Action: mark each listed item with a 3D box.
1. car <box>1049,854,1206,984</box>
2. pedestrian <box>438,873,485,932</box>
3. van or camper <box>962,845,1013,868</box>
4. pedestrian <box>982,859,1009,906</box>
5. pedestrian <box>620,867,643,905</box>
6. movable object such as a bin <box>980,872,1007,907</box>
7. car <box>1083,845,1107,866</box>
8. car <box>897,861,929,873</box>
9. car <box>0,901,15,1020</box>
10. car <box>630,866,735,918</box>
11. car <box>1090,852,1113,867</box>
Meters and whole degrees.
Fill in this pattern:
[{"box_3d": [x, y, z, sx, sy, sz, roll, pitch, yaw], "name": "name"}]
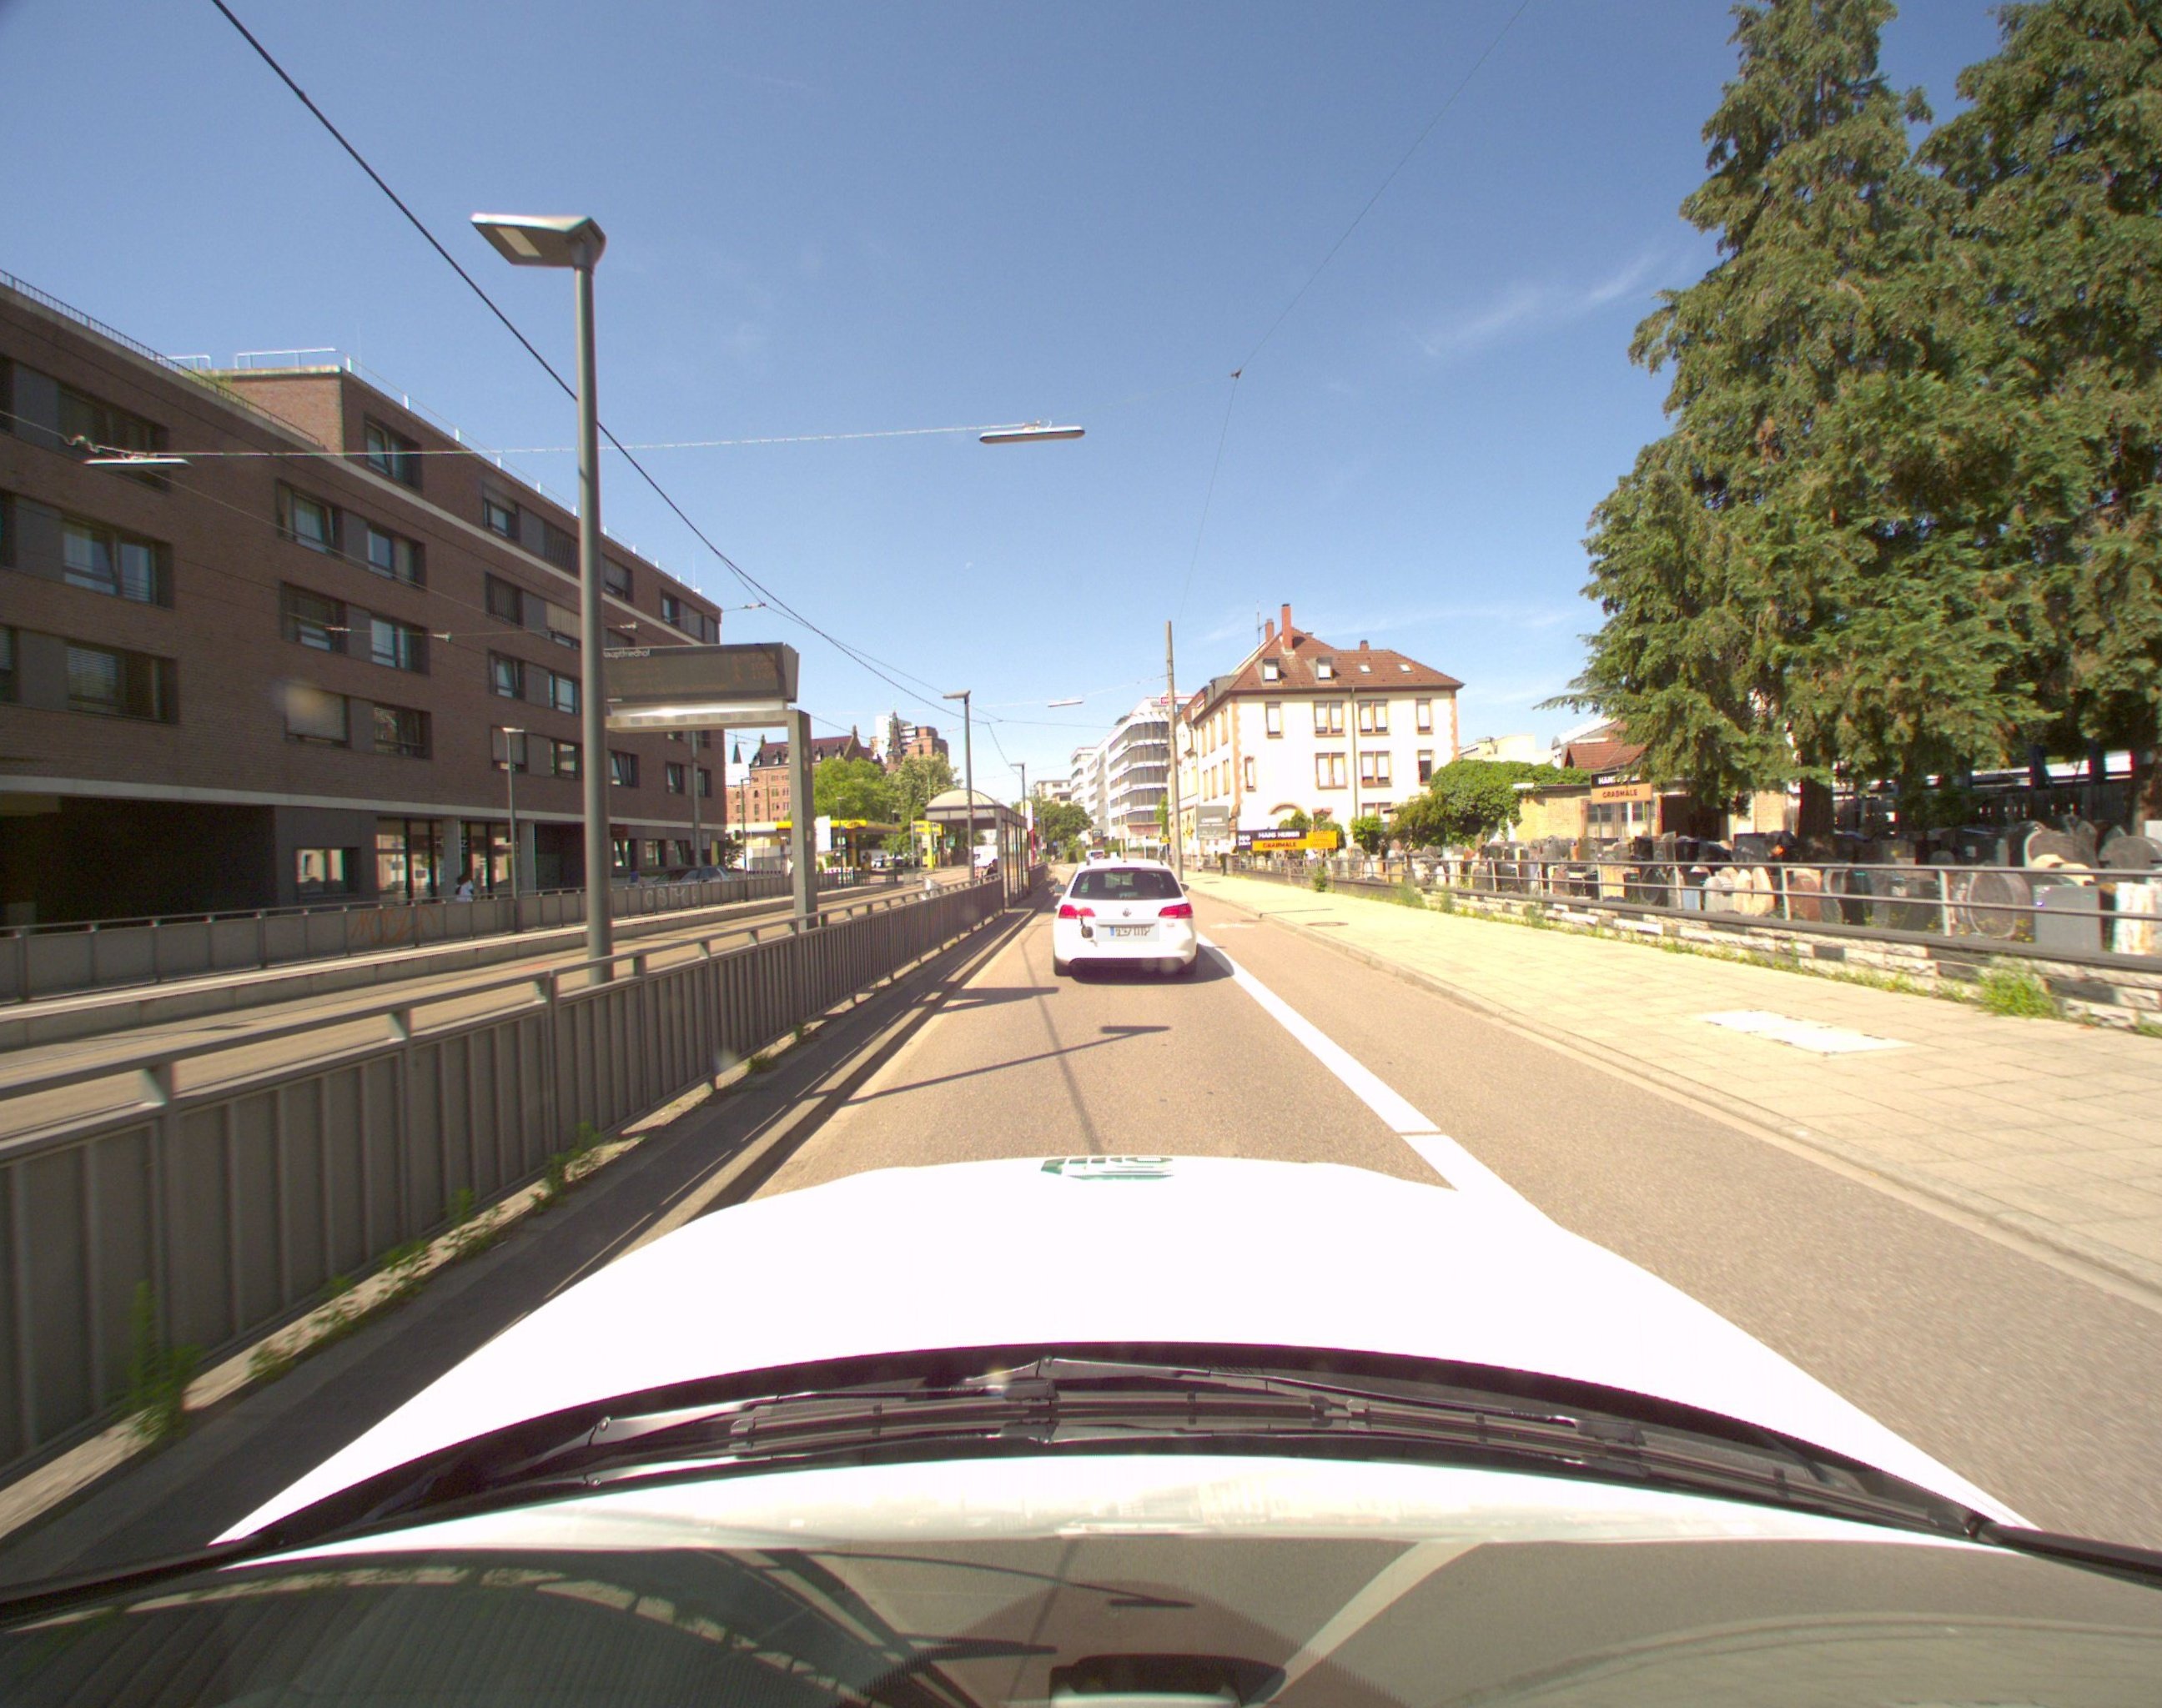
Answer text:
[{"box_3d": [0.541, 0.724, 11.329, 1.748, 1.442, 4.413, 0, 0, 0], "name": "car"}, {"box_3d": [-20.104, 1.562, 26.444, 0.841, 1.819, 0.839, -2, 0, 1], "name": "pedestrian"}, {"box_3d": [-12.389, 0.313, 107.580, 6.626, 2.967, 2.633, 0, -1, 37], "name": "van or camper"}, {"box_3d": [-2.400, 0.798, 22.934, 0.627, 1.255, 0.709, -3, 0, 0], "name": "pedestrian"}, {"box_3d": [-20.529, 1.458, 37.183, 0.579, 1.664, 0.699, -2, 0, -1], "name": "pedestrian"}, {"box_3d": [-2.393, 0.970, 22.337, 0.627, 0.900, 0.489, -3, 0, 0], "name": "movable object such as a bin"}, {"box_3d": [1.474, 0.173, 89.494, 1.974, 2.054, 5.180, -4, 0, -6], "name": "car"}, {"box_3d": [-25.659, 1.937, 124.646, 1.924, 1.625, 4.608, -2, 0, 38], "name": "car"}, {"box_3d": [-15.675, 1.477, 9.491, 1.705, 1.622, 3.580, -1, 0, 2], "name": "car"}, {"box_3d": [-14.910, 1.360, 30.732, 1.794, 1.729, 4.190, -1, 0, 2], "name": "car"}, {"box_3d": [2.035, 0.576, 83.138, 1.719, 1.443, 4.303, -4, 0, -6], "name": "car"}]
